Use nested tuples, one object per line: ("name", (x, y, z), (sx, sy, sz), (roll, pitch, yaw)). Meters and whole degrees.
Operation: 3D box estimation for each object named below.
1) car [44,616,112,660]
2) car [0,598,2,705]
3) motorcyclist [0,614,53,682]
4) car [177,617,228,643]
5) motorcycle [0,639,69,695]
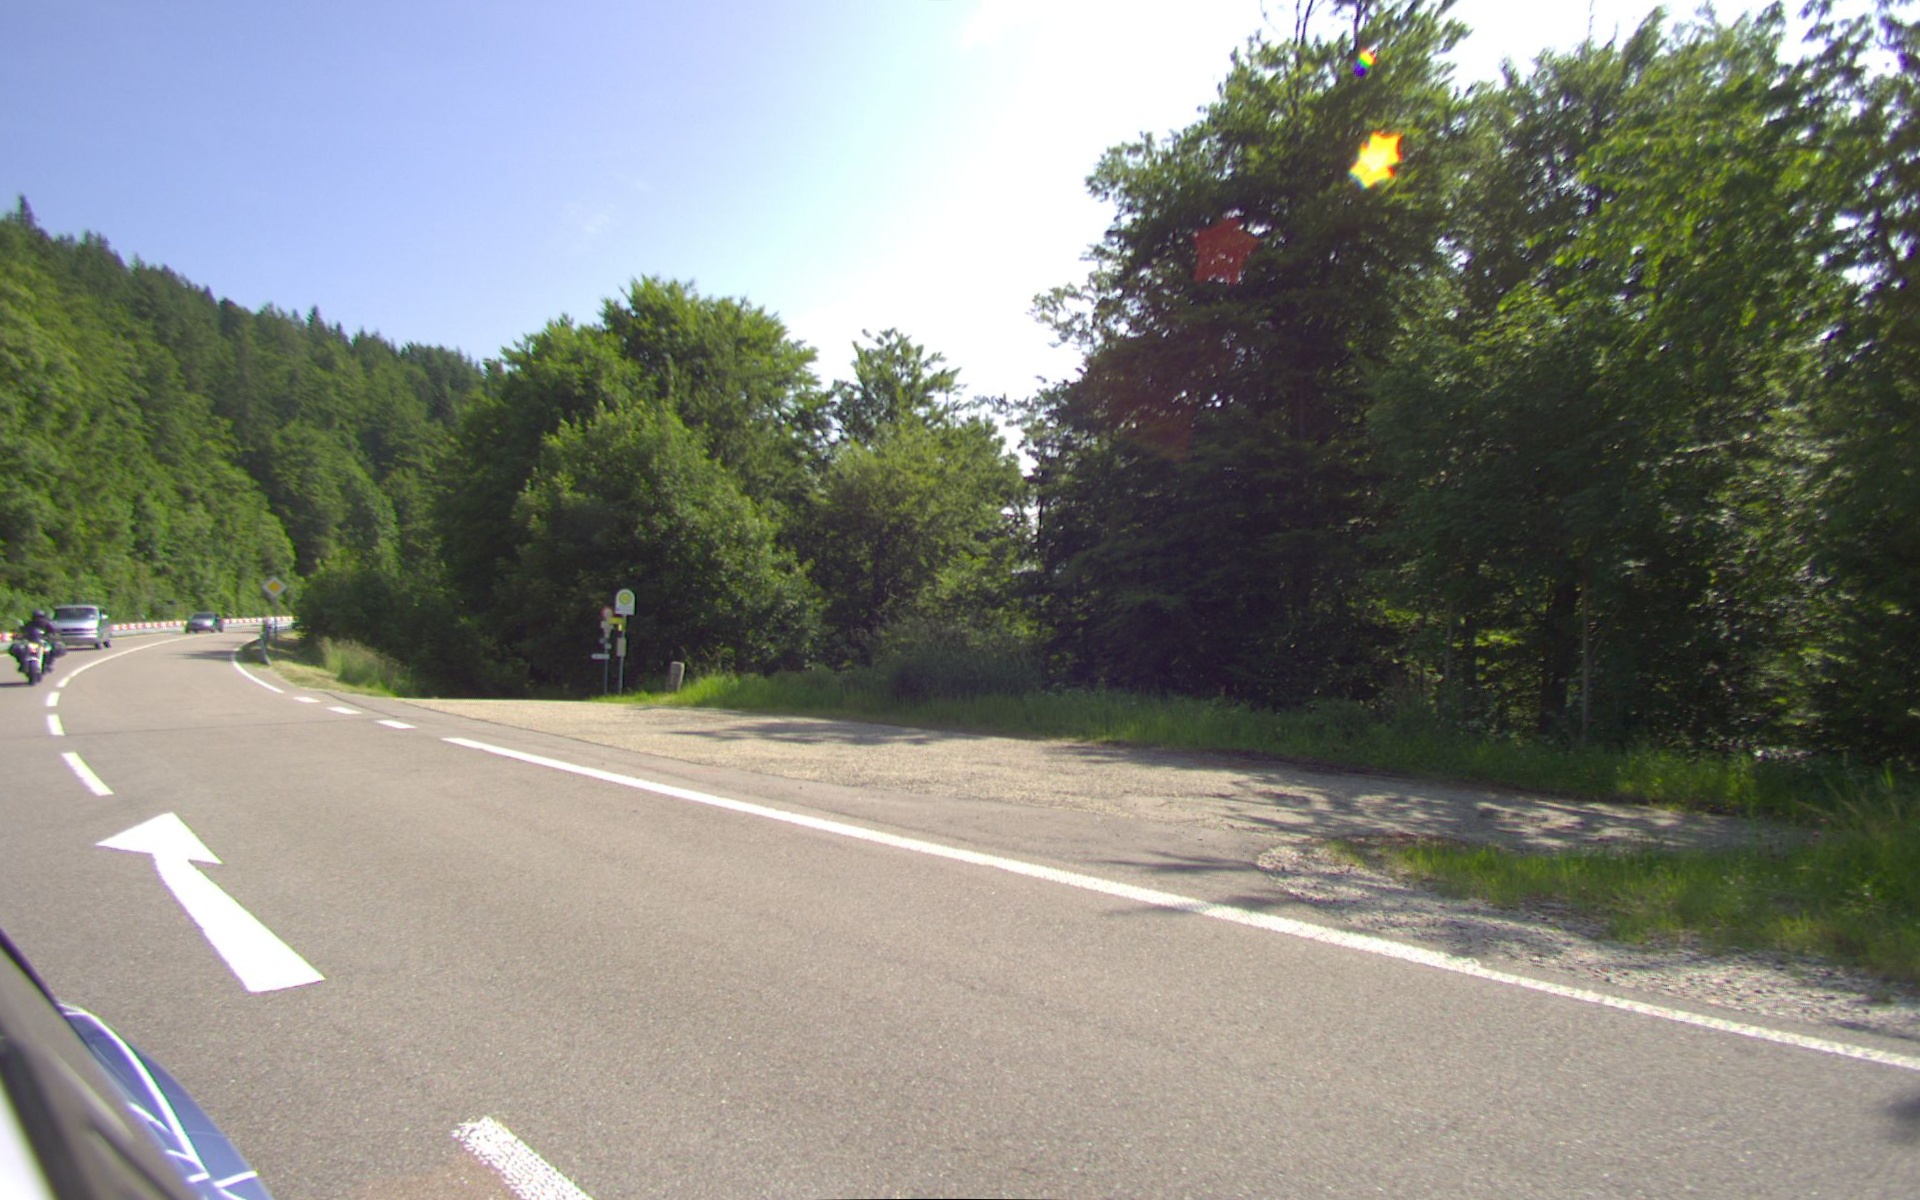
("car", (-37.638, 1.583, 43.261), (1.626, 1.773, 3.805), (0, -1, -33))
("car", (-17.104, 0.913, 16.395), (1.999, 1.966, 4.907), (-1, -1, -40))
("motorcyclist", (-20.560, 1.046, 22.313), (0.706, 1.441, 1.001), (-3, 0, -38))
("car", (-53.346, 2.090, 71.354), (1.965, 1.655, 4.013), (-2, 0, -24))
("motorcycle", (-20.507, 1.454, 22.338), (1.092, 1.132, 1.965), (0, -1, -36))
